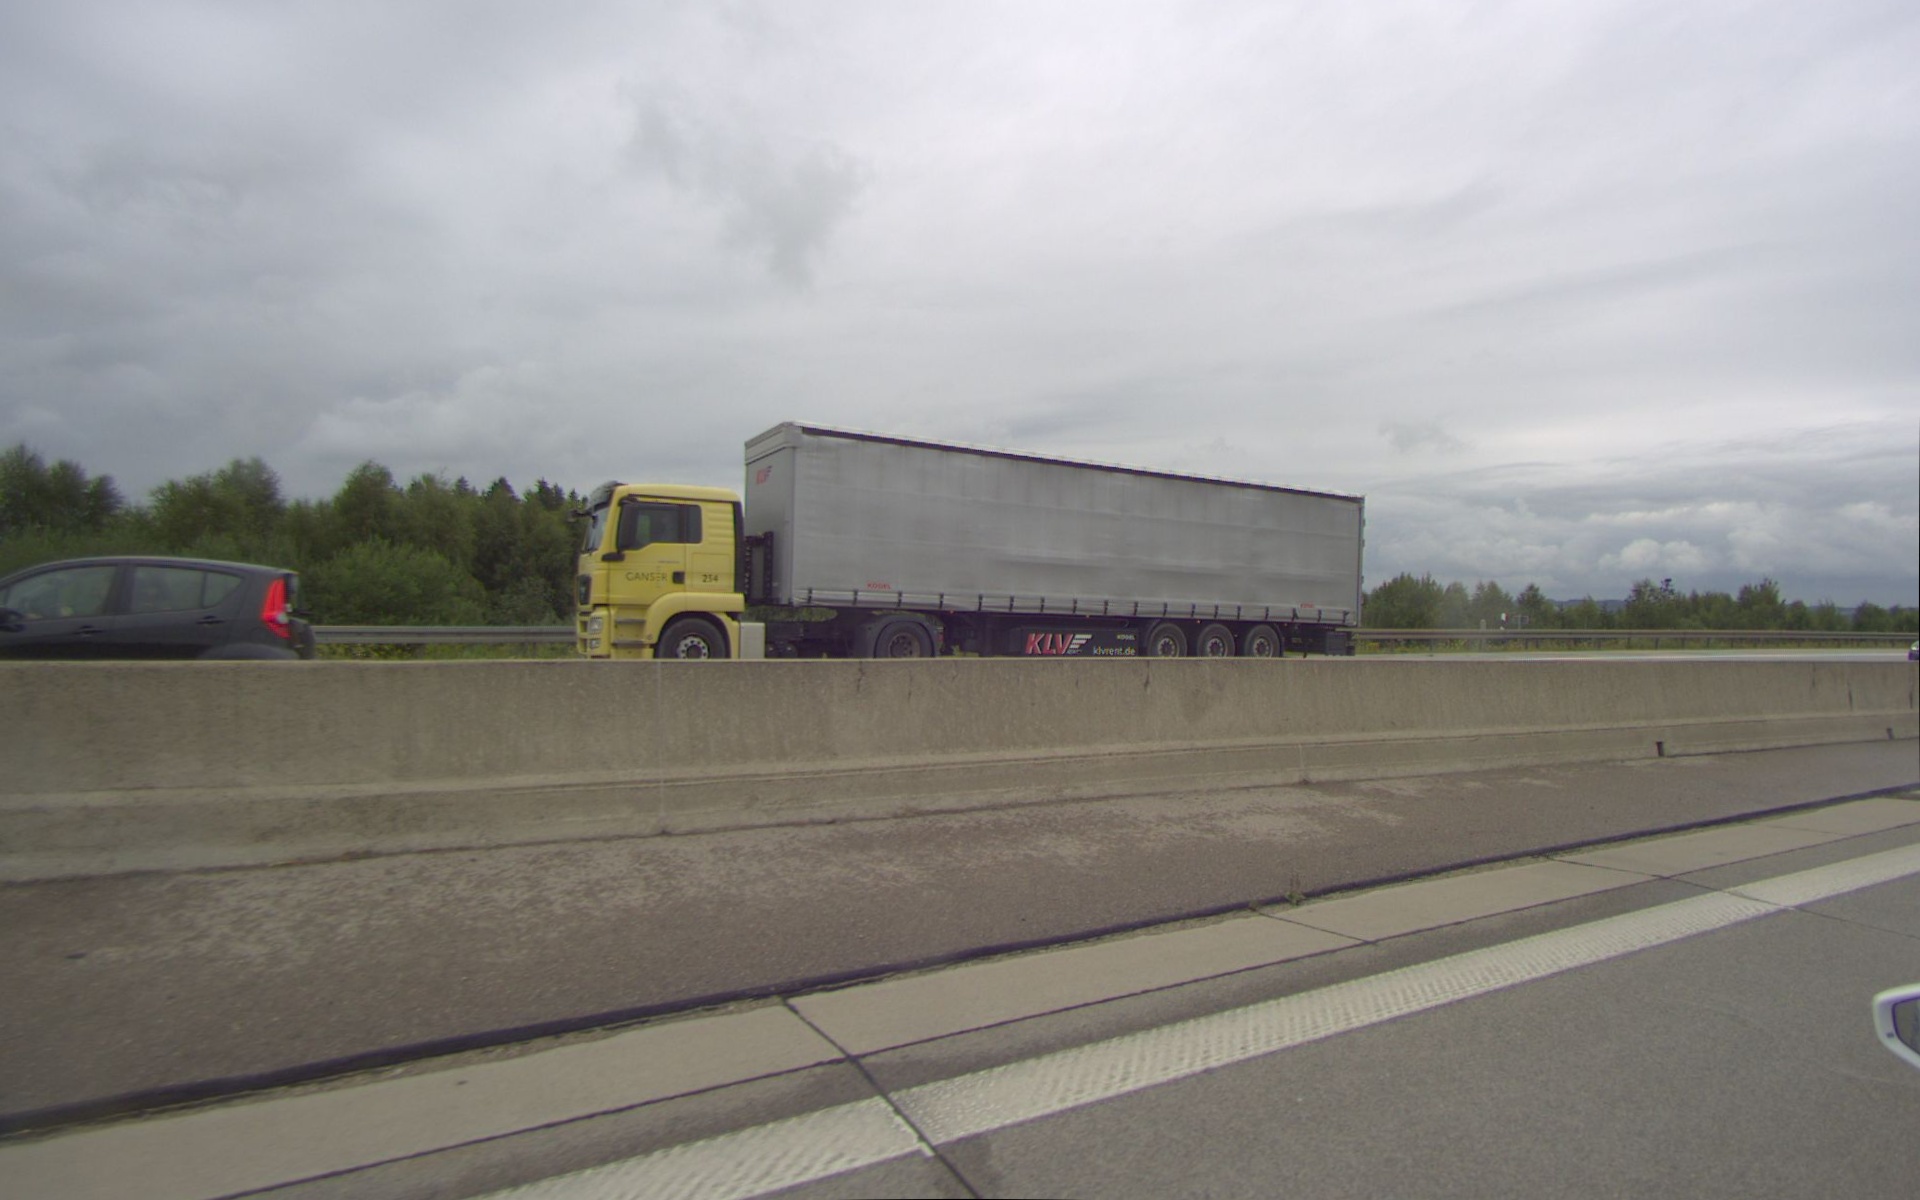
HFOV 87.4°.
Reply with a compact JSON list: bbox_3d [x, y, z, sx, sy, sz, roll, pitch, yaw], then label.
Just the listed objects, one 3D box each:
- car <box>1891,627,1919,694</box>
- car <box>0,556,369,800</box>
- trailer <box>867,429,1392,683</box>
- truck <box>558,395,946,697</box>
[{"bbox_3d":[32.219,1.891,32.122,5.851,2.040,1.906,0,0,-29],"label":"car"},{"bbox_3d":[-7.866,0.658,9.446,3.953,2.040,1.637,0,0,-31],"label":"car"},{"bbox_3d":[3.986,-0.707,21.088,11.729,4.274,2.905,0,0,-30],"label":"trailer"},{"bbox_3d":[-3.453,-0.741,16.819,5.788,4.236,2.918,0,0,-30],"label":"truck"}]
